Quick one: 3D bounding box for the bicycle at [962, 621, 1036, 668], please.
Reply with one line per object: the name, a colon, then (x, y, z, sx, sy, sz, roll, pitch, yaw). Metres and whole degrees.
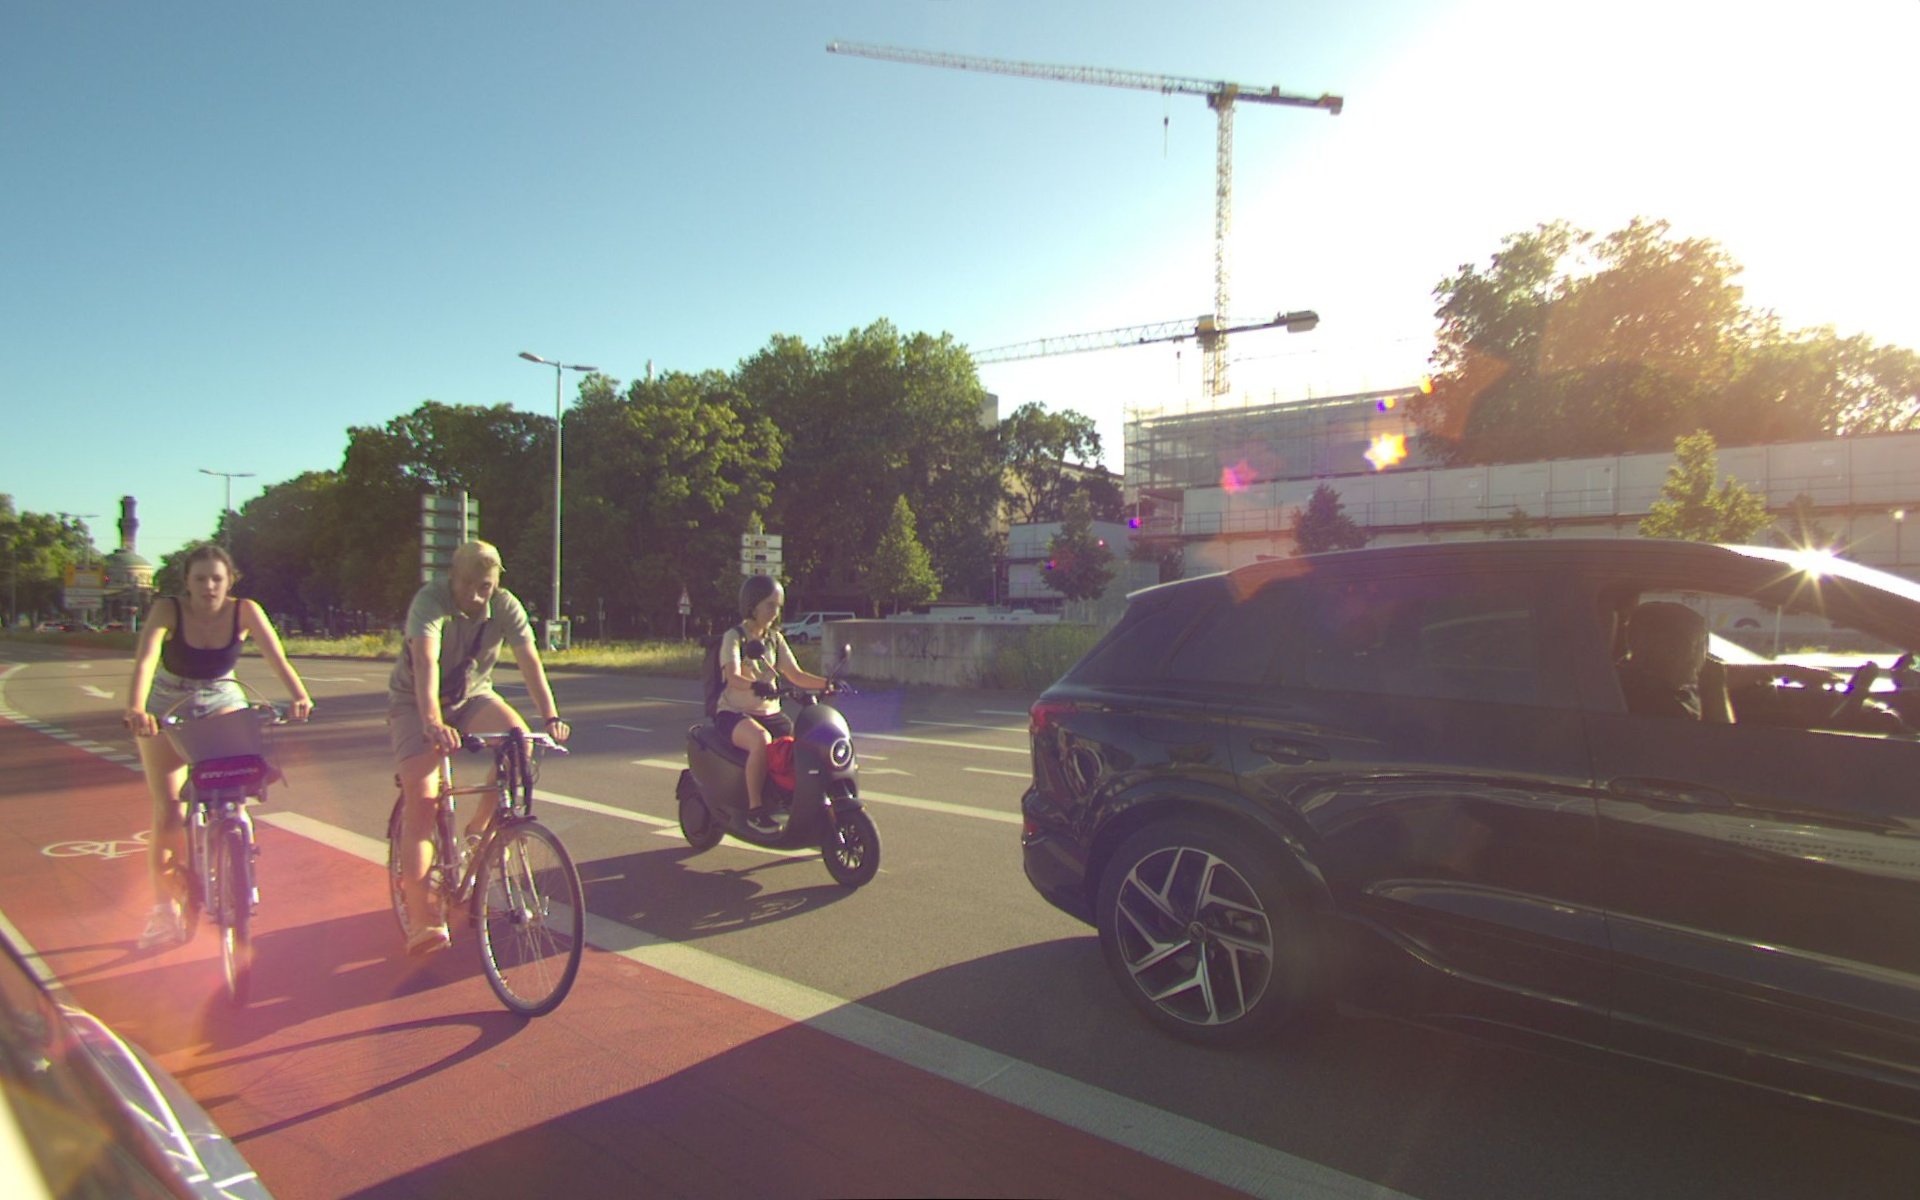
bicycle: (1.565, 1.797, 40.907, 3.079, 1.824, 0.831, -3, -1, 40)

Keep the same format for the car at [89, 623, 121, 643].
car: (-79.872, 3.036, 94.534, 3.945, 1.802, 1.725, -1, 0, 41)

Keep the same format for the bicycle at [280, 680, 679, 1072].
bicycle: (-1.988, 0.930, 4.034, 1.968, 1.118, 0.640, -2, -1, 39)

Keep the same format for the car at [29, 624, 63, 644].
car: (-82.556, 3.073, 91.411, 3.998, 1.699, 1.826, -1, 0, 41)

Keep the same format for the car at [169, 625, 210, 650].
car: (-60.241, 2.874, 79.073, 3.998, 1.841, 1.796, -1, 0, 41)

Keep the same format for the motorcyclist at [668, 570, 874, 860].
motorcyclist: (-1.082, 0.595, 5.771, 0.917, 1.485, 0.717, -2, -1, 41)

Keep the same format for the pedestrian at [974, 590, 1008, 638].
pedestrian: (1.346, 0.582, 43.489, 1.135, 2.029, 0.930, -1, 0, 35)

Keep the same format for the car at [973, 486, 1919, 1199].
car: (2.413, 0.575, 3.027, 4.677, 1.647, 1.753, -1, 0, 40)

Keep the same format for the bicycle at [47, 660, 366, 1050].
bicycle: (-3.160, 0.892, 4.172, 1.829, 1.227, 0.610, -2, -1, 39)

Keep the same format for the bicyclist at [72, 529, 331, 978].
bicyclist: (-3.088, 0.548, 4.115, 0.874, 1.591, 0.635, -2, -1, 39)

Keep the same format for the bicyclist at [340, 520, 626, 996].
bicyclist: (-1.879, 0.542, 3.990, 0.841, 1.618, 0.709, -1, -1, 39)

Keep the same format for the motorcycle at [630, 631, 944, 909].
motorcycle: (-1.036, 0.841, 5.731, 1.883, 1.303, 0.715, -2, -1, 41)

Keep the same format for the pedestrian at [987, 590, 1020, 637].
pedestrian: (1.896, 0.567, 44.289, 1.135, 2.029, 0.930, -1, 0, 35)

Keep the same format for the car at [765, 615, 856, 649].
car: (-9.064, 1.924, 61.846, 2.065, 1.950, 5.443, -1, -2, 42)

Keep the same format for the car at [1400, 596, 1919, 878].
car: (4.971, 0.753, 6.547, 3.603, 1.497, 1.477, -2, -1, 41)
